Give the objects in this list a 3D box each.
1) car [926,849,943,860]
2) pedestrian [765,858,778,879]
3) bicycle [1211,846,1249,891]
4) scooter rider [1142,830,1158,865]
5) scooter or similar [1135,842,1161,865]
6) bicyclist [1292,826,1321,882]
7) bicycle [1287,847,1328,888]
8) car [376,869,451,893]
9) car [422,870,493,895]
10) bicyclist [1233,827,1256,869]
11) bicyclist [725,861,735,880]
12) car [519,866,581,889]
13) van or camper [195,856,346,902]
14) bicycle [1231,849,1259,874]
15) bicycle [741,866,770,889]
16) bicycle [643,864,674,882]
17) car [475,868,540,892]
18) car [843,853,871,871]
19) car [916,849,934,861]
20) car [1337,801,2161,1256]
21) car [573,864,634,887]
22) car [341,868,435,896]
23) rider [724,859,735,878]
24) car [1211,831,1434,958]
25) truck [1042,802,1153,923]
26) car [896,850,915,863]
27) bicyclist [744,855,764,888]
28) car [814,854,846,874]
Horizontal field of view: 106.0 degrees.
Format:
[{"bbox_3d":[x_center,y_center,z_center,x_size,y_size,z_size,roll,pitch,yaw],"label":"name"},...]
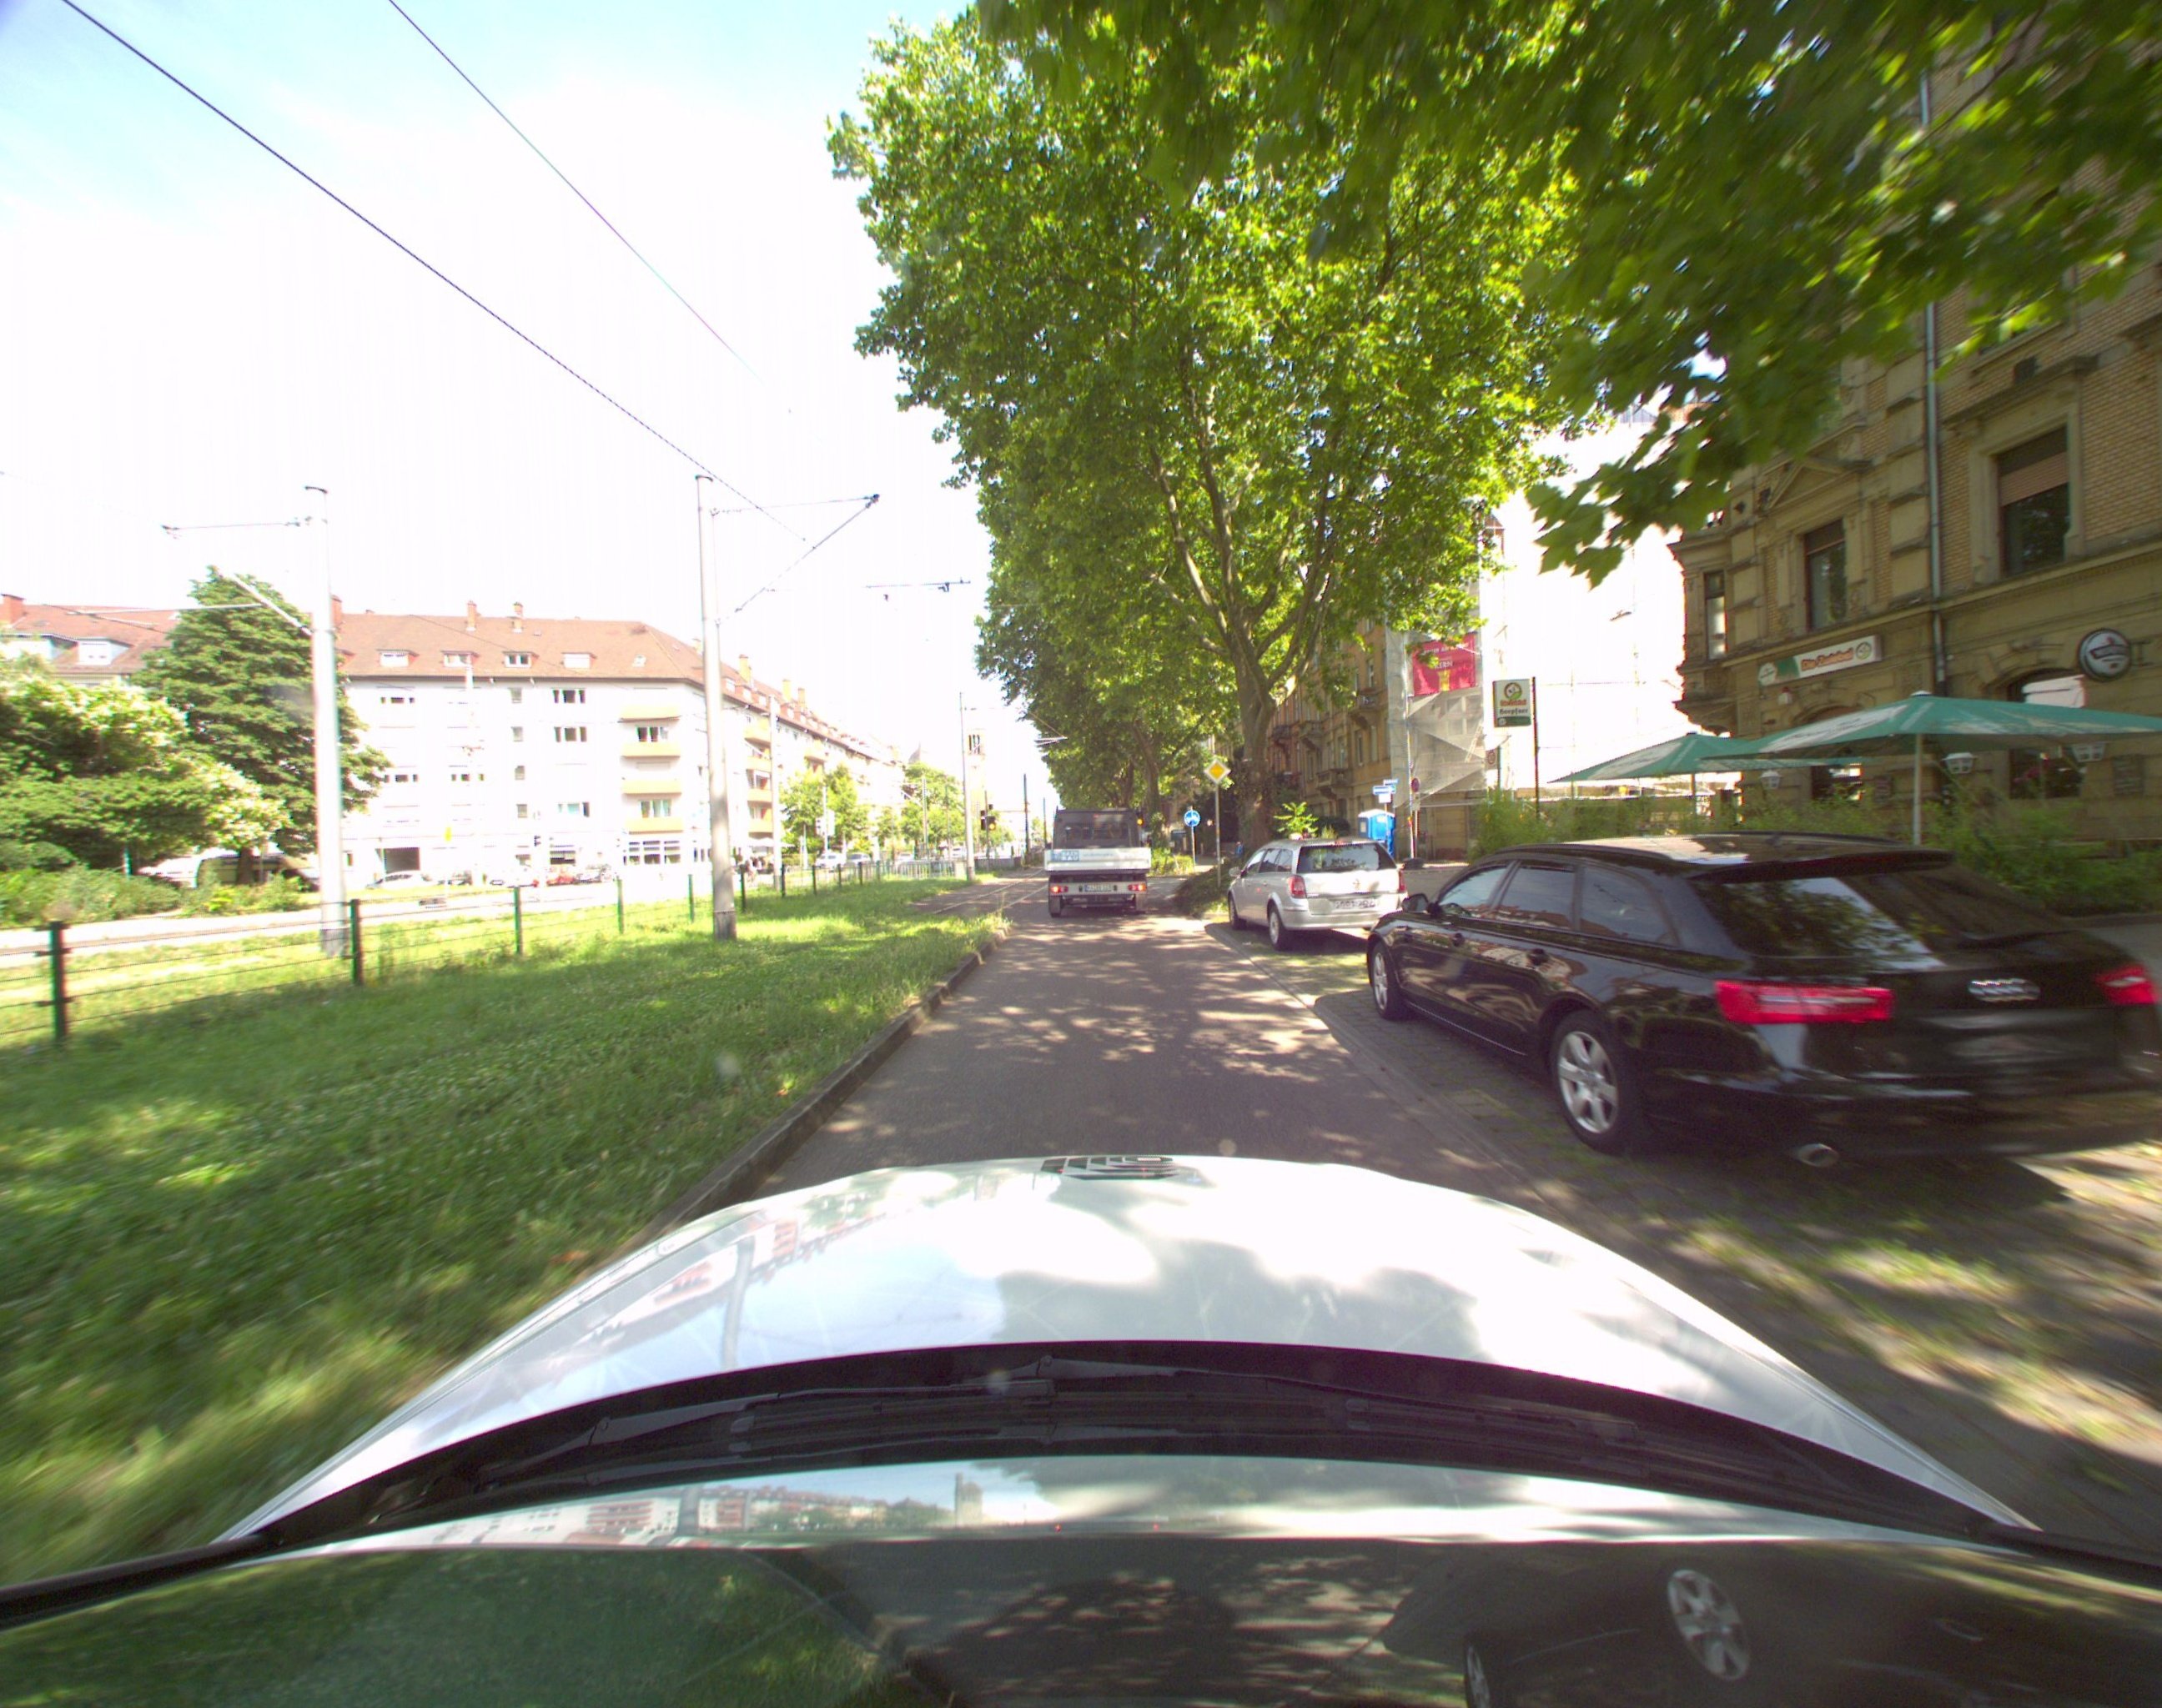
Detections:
[{"bbox_3d":[-21.737,0.037,120.729,1.765,1.498,3.998,-2,1,-1],"label":"car"},{"bbox_3d":[-24.379,1.111,64.062,0.862,1.572,0.685,-3,1,-24],"label":"pedestrian"},{"bbox_3d":[3.983,0.379,21.688,0.417,1.105,1.627,-2,1,30],"label":"bicycle"},{"bbox_3d":[3.848,-0.366,45.527,0.667,1.866,0.661,-3,1,-12],"label":"scooter rider"},{"bbox_3d":[3.759,-0.025,45.504,1.267,1.204,0.655,-3,1,-12],"label":"scooter or similar"},{"bbox_3d":[6.552,0.003,23.680,0.635,1.573,0.580,-2,1,1],"label":"bicyclist"},{"bbox_3d":[6.574,0.366,23.742,0.563,1.111,2.311,-2,1,1],"label":"bicycle"},{"bbox_3d":[-45.039,1.804,55.068,1.931,1.406,4.156,-2,1,-8],"label":"car"},{"bbox_3d":[-42.263,1.903,55.305,1.931,1.406,4.156,-2,1,-8],"label":"car"},{"bbox_3d":[6.280,-0.218,31.269,0.678,1.563,0.777,-3,1,1],"label":"bicyclist"},{"bbox_3d":[-26.480,1.262,61.425,0.624,1.423,0.587,-2,0,-17],"label":"bicyclist"},{"bbox_3d":[-36.967,1.604,56.836,1.931,1.406,4.156,-3,1,-8],"label":"car"},{"bbox_3d":[-46.714,1.392,47.117,5.764,2.329,2.235,-3,1,-13],"label":"van or camper"},{"bbox_3d":[6.310,0.258,31.386,0.672,0.881,2.164,-3,1,1],"label":"bicycle"},{"bbox_3d":[-16.824,1.194,42.105,0.528,1.049,1.928,-4,0,4],"label":"bicycle"},{"bbox_3d":[-30.607,1.381,59.065,0.909,1.137,2.805,-2,1,-3],"label":"bicycle"},{"bbox_3d":[-39.745,1.804,56.585,1.931,1.406,4.156,-3,1,-8],"label":"car"},{"bbox_3d":[-21.385,0.729,77.895,1.768,1.498,3.992,-4,1,-6],"label":"car"},{"bbox_3d":[-21.582,0.127,112.894,1.765,1.498,3.998,-2,1,-1],"label":"car"},{"bbox_3d":[3.262,0.567,5.150,1.827,1.508,4.644,-3,1,1],"label":"car"},{"bbox_3d":[-33.627,1.454,57.509,1.831,1.376,4.634,-3,1,-6],"label":"car"},{"bbox_3d":[-41.087,1.637,48.369,3.750,1.406,1.823,-3,1,-17],"label":"car"},{"bbox_3d":[-26.747,1.079,61.973,0.624,1.423,0.587,-2,0,-17],"label":"rider"},{"bbox_3d":[3.428,0.484,12.537,1.829,1.508,4.486,-3,1,-3],"label":"car"},{"bbox_3d":[0.359,0.142,17.918,2.131,2.318,4.402,0,1,1],"label":"truck"},{"bbox_3d":[-21.411,0.283,99.523,1.768,1.498,3.992,-2,1,-6],"label":"car"},{"bbox_3d":[-16.833,0.903,41.940,0.619,1.623,0.696,-2,1,5],"label":"bicyclist"},{"bbox_3d":[-21.344,0.831,69.316,1.768,1.498,3.992,-4,1,-6],"label":"car"}]
